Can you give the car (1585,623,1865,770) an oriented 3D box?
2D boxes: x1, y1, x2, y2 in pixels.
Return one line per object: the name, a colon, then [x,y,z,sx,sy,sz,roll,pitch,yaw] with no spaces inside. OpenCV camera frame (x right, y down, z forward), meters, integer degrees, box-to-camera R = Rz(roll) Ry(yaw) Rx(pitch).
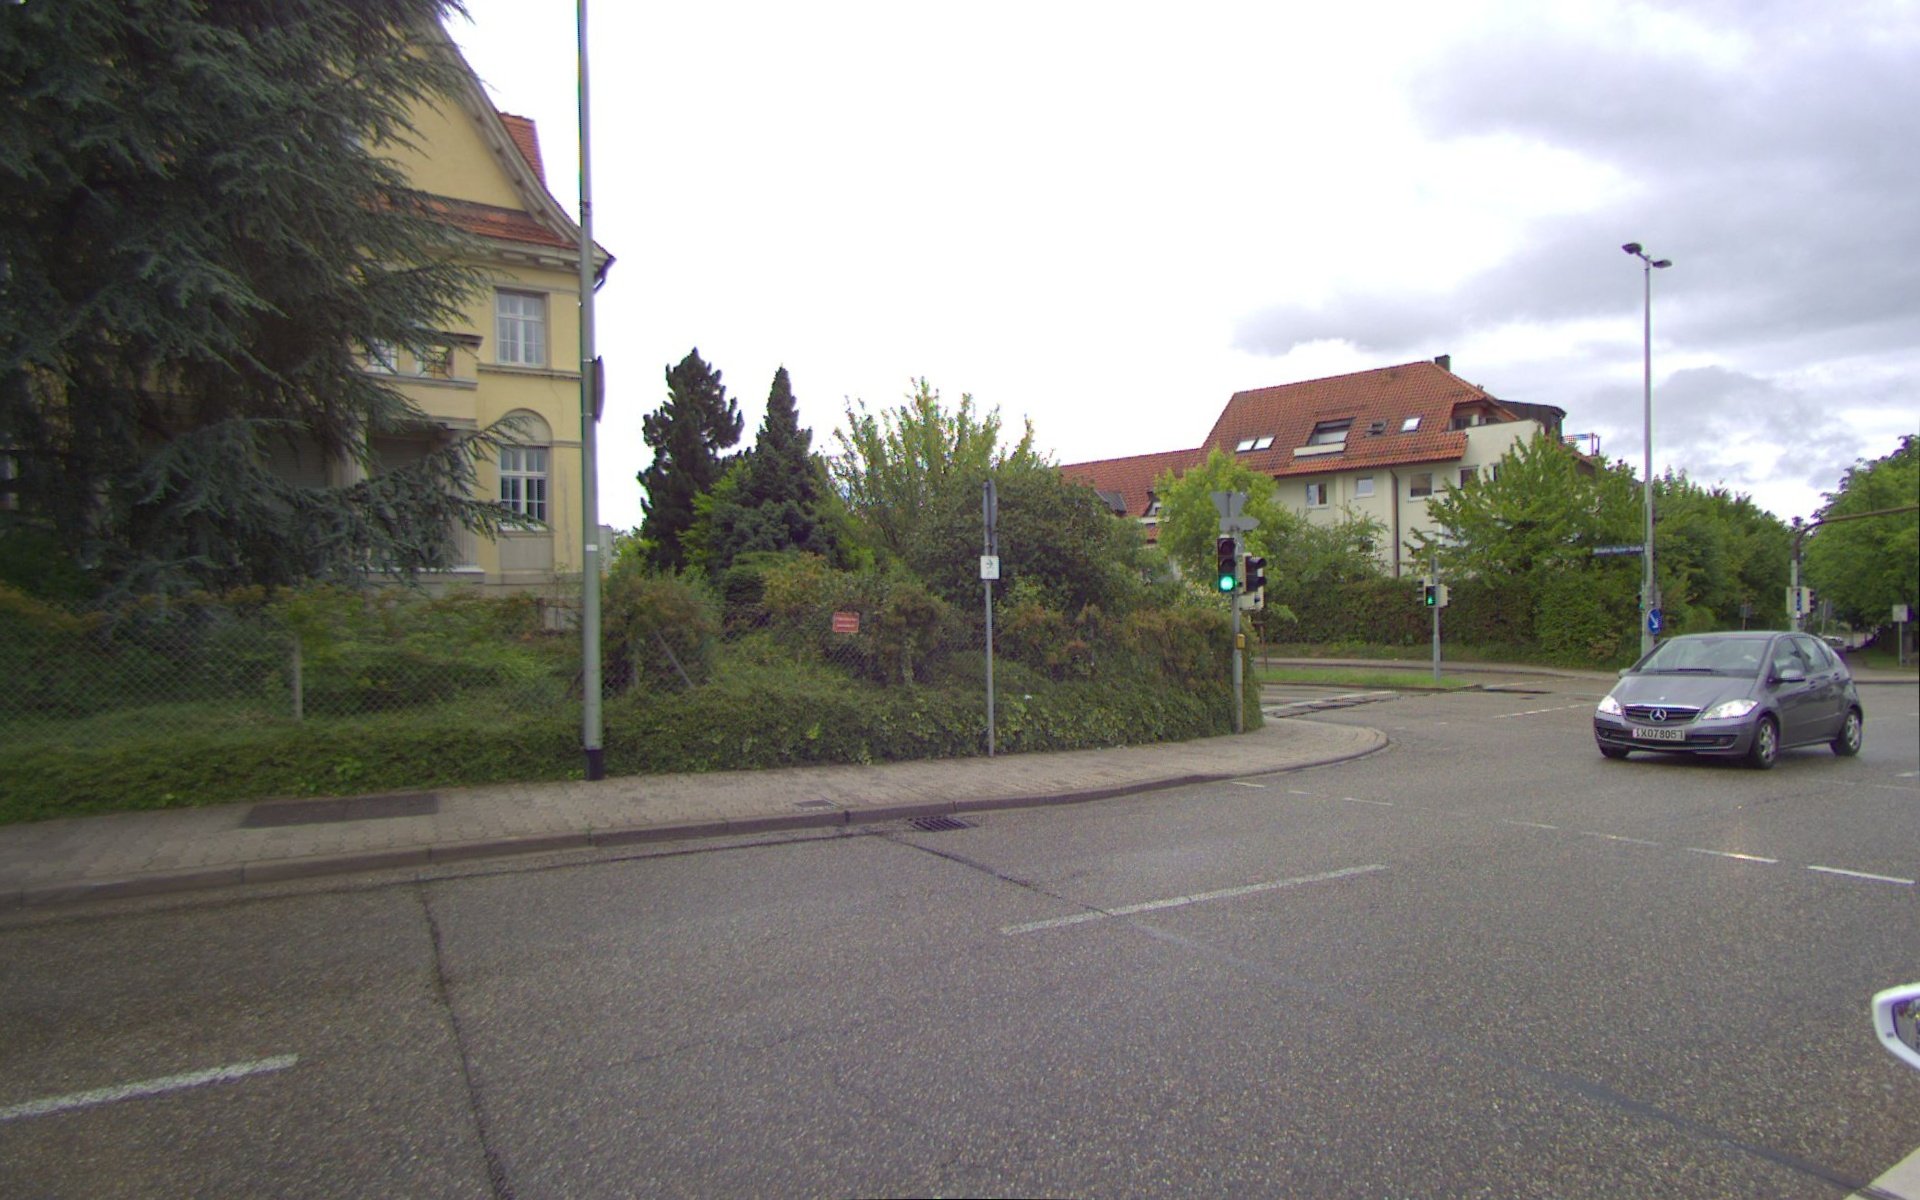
car: [9.755,1.132,12.773,3.510,1.620,1.690,1,-2,-32]
